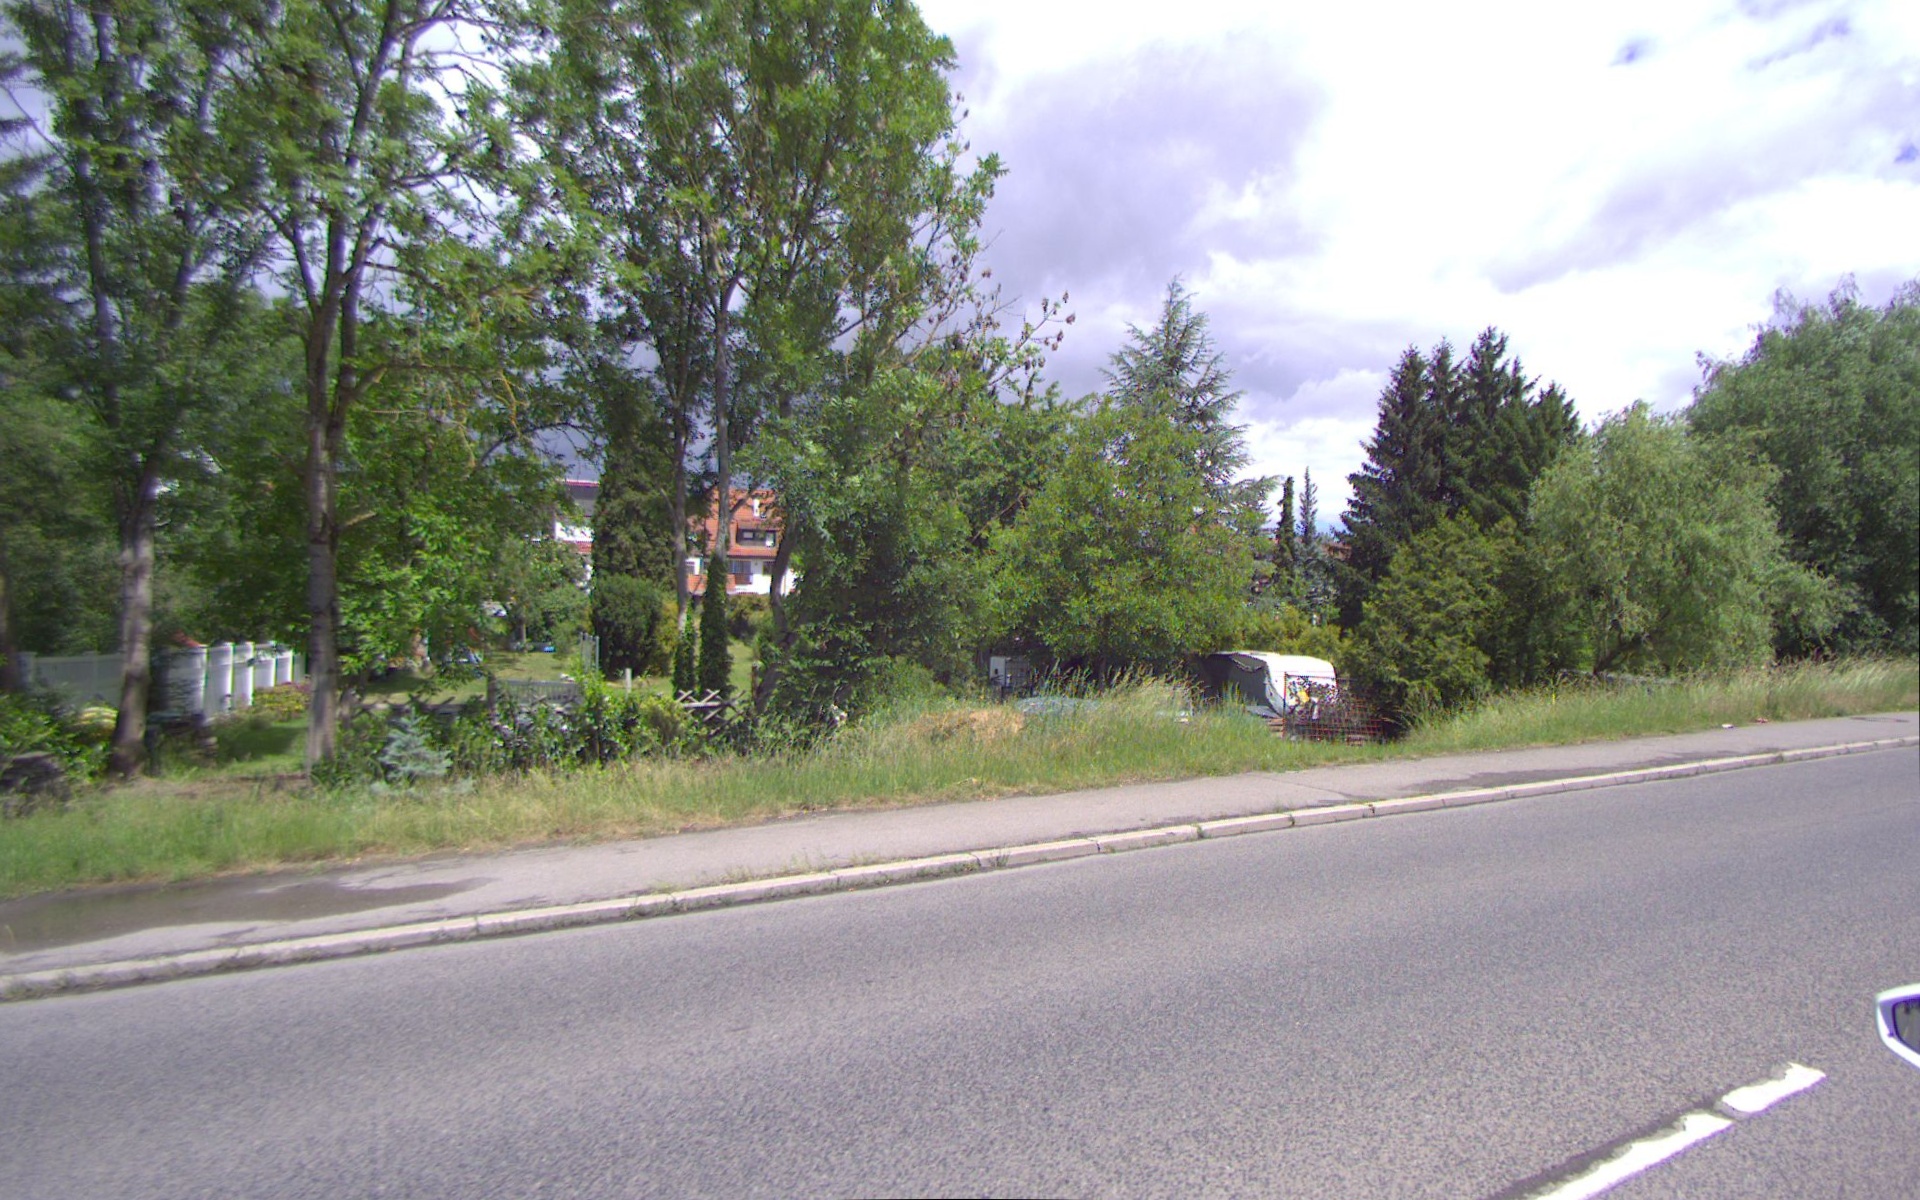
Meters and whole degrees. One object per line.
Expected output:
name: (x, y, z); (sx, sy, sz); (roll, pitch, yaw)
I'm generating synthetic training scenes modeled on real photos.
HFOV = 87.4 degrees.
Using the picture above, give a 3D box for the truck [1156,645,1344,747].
truck: (8.230, 2.690, 29.346); (1.970, 2.643, 6.196); (1, -4, -21)

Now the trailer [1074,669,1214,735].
trailer: (4.882, 2.694, 27.227); (1.970, 1.576, 3.982); (1, -4, -21)
